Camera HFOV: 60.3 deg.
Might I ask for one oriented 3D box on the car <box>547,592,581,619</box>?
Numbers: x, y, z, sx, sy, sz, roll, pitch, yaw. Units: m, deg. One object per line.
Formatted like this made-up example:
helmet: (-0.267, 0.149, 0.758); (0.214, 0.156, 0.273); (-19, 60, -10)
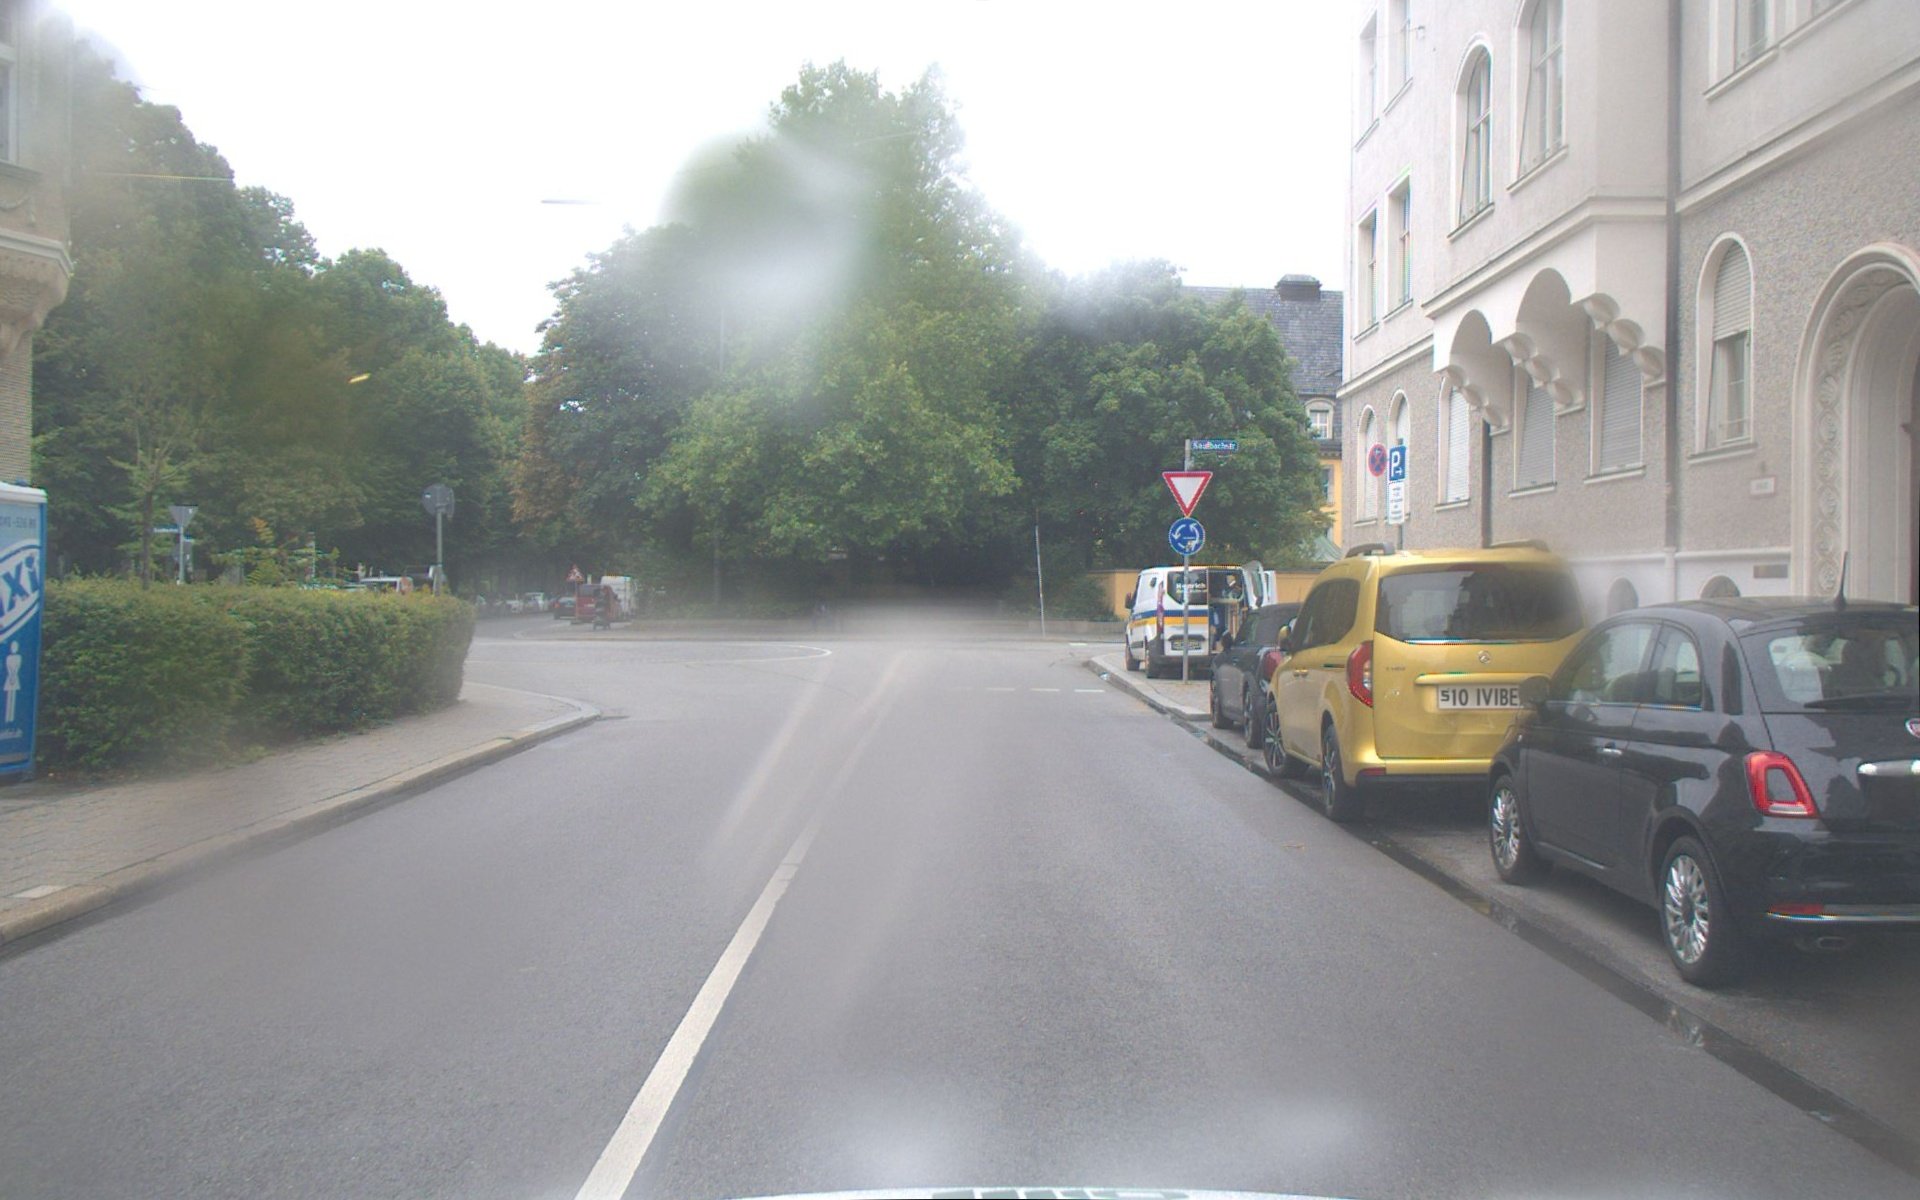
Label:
car: (-23.562, 0.317, 98.519); (1.756, 1.518, 3.990); (0, 0, -11)

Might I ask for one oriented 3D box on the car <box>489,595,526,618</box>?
car: (-31.538, 0.423, 115.474); (1.859, 1.599, 4.069); (0, 0, -6)

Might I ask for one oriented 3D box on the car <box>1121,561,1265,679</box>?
car: (4.247, 0.317, 30.907); (1.877, 1.996, 4.926); (-1, 0, -1)

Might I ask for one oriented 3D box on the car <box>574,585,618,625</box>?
car: (-18.268, 0.218, 83.127); (2.005, 1.956, 4.434); (0, 0, -11)

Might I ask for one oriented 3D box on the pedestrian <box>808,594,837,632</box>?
pedestrian: (-4.472, 0.419, 53.847); (0.794, 1.209, 0.920); (0, 0, 6)

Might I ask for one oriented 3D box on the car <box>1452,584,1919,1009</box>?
car: (3.654, 0.690, 7.774); (1.598, 1.510, 3.784); (0, 0, 1)

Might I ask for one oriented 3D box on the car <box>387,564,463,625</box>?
car: (-27.396, -0.269, 84.966); (2.289, 2.973, 6.571); (0, 0, -5)

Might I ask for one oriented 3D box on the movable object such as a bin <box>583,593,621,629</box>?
movable object such as a bin: (-13.541, 0.401, 62.669); (1.055, 1.289, 1.087); (-2, 0, 7)

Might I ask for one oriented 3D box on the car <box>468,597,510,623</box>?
car: (-29.657, 0.608, 104.278); (1.859, 1.599, 4.069); (0, 0, -6)

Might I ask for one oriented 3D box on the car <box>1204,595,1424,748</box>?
car: (3.767, 0.701, 18.215); (1.629, 1.483, 3.896); (0, 0, 0)

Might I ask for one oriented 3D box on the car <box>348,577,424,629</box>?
car: (-26.210, 0.122, 75.666); (2.070, 2.290, 5.189); (0, 0, -5)

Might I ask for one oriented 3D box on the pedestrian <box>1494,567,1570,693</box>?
pedestrian: (8.246, 0.435, 23.847); (0.688, 1.767, 0.724); (-1, -3, -45)

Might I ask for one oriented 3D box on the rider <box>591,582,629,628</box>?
rider: (-13.447, 0.199, 63.546); (1.059, 1.696, 1.140); (-2, 0, 7)

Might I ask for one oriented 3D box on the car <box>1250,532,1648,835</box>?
car: (3.475, 0.499, 12.735); (1.812, 1.885, 4.822); (0, 0, 2)

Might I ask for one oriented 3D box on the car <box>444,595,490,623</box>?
car: (-28.520, 0.495, 95.791); (1.859, 1.565, 4.069); (0, 0, -6)

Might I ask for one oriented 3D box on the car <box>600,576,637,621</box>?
car: (-20.365, -0.110, 98.814); (2.004, 2.603, 5.235); (0, 0, -10)
